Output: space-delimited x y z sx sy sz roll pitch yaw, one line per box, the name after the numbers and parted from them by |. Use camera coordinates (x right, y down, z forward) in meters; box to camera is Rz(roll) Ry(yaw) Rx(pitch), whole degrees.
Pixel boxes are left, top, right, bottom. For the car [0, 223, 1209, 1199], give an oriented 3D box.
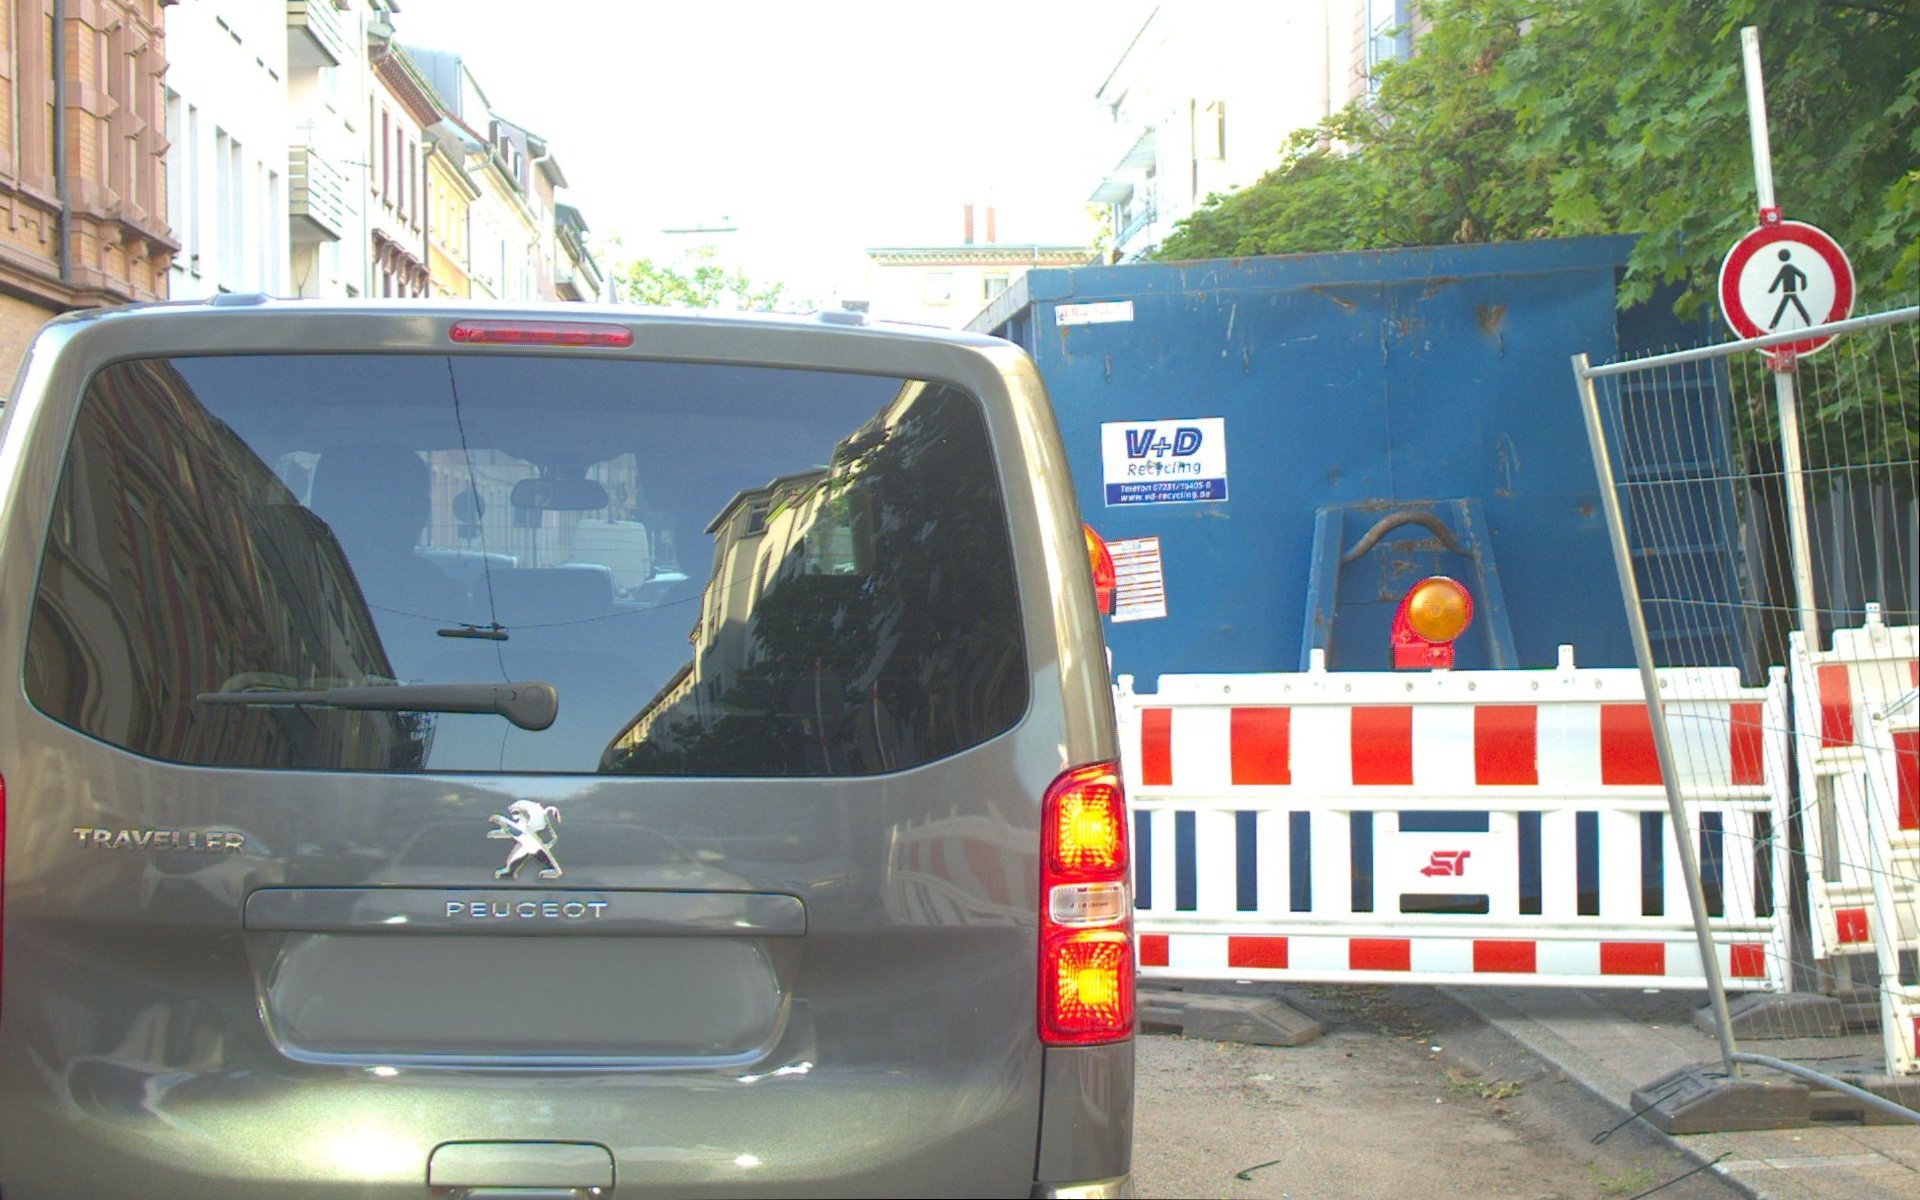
-0.837 0.446 6.609 1.865 1.880 4.236 0 0 -7 | car

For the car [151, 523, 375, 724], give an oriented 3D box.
-6.394 0.203 31.796 1.666 1.660 3.092 4 0 -7 | car

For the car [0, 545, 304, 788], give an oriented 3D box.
-5.738 0.441 24.714 1.655 1.520 3.418 4 0 -7 | car

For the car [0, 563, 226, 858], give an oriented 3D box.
-5.203 0.543 19.406 1.655 1.455 3.418 4 0 -7 | car

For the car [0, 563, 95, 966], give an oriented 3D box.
-5.258 0.633 11.177 1.931 1.446 4.803 0 1 30 | car

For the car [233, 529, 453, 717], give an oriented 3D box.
-6.296 0.221 35.441 1.891 1.714 3.755 4 0 -7 | car

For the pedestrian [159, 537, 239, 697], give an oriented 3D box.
-8.029 0.174 36.290 0.739 1.659 0.704 -1 1 -7 | pedestrian
